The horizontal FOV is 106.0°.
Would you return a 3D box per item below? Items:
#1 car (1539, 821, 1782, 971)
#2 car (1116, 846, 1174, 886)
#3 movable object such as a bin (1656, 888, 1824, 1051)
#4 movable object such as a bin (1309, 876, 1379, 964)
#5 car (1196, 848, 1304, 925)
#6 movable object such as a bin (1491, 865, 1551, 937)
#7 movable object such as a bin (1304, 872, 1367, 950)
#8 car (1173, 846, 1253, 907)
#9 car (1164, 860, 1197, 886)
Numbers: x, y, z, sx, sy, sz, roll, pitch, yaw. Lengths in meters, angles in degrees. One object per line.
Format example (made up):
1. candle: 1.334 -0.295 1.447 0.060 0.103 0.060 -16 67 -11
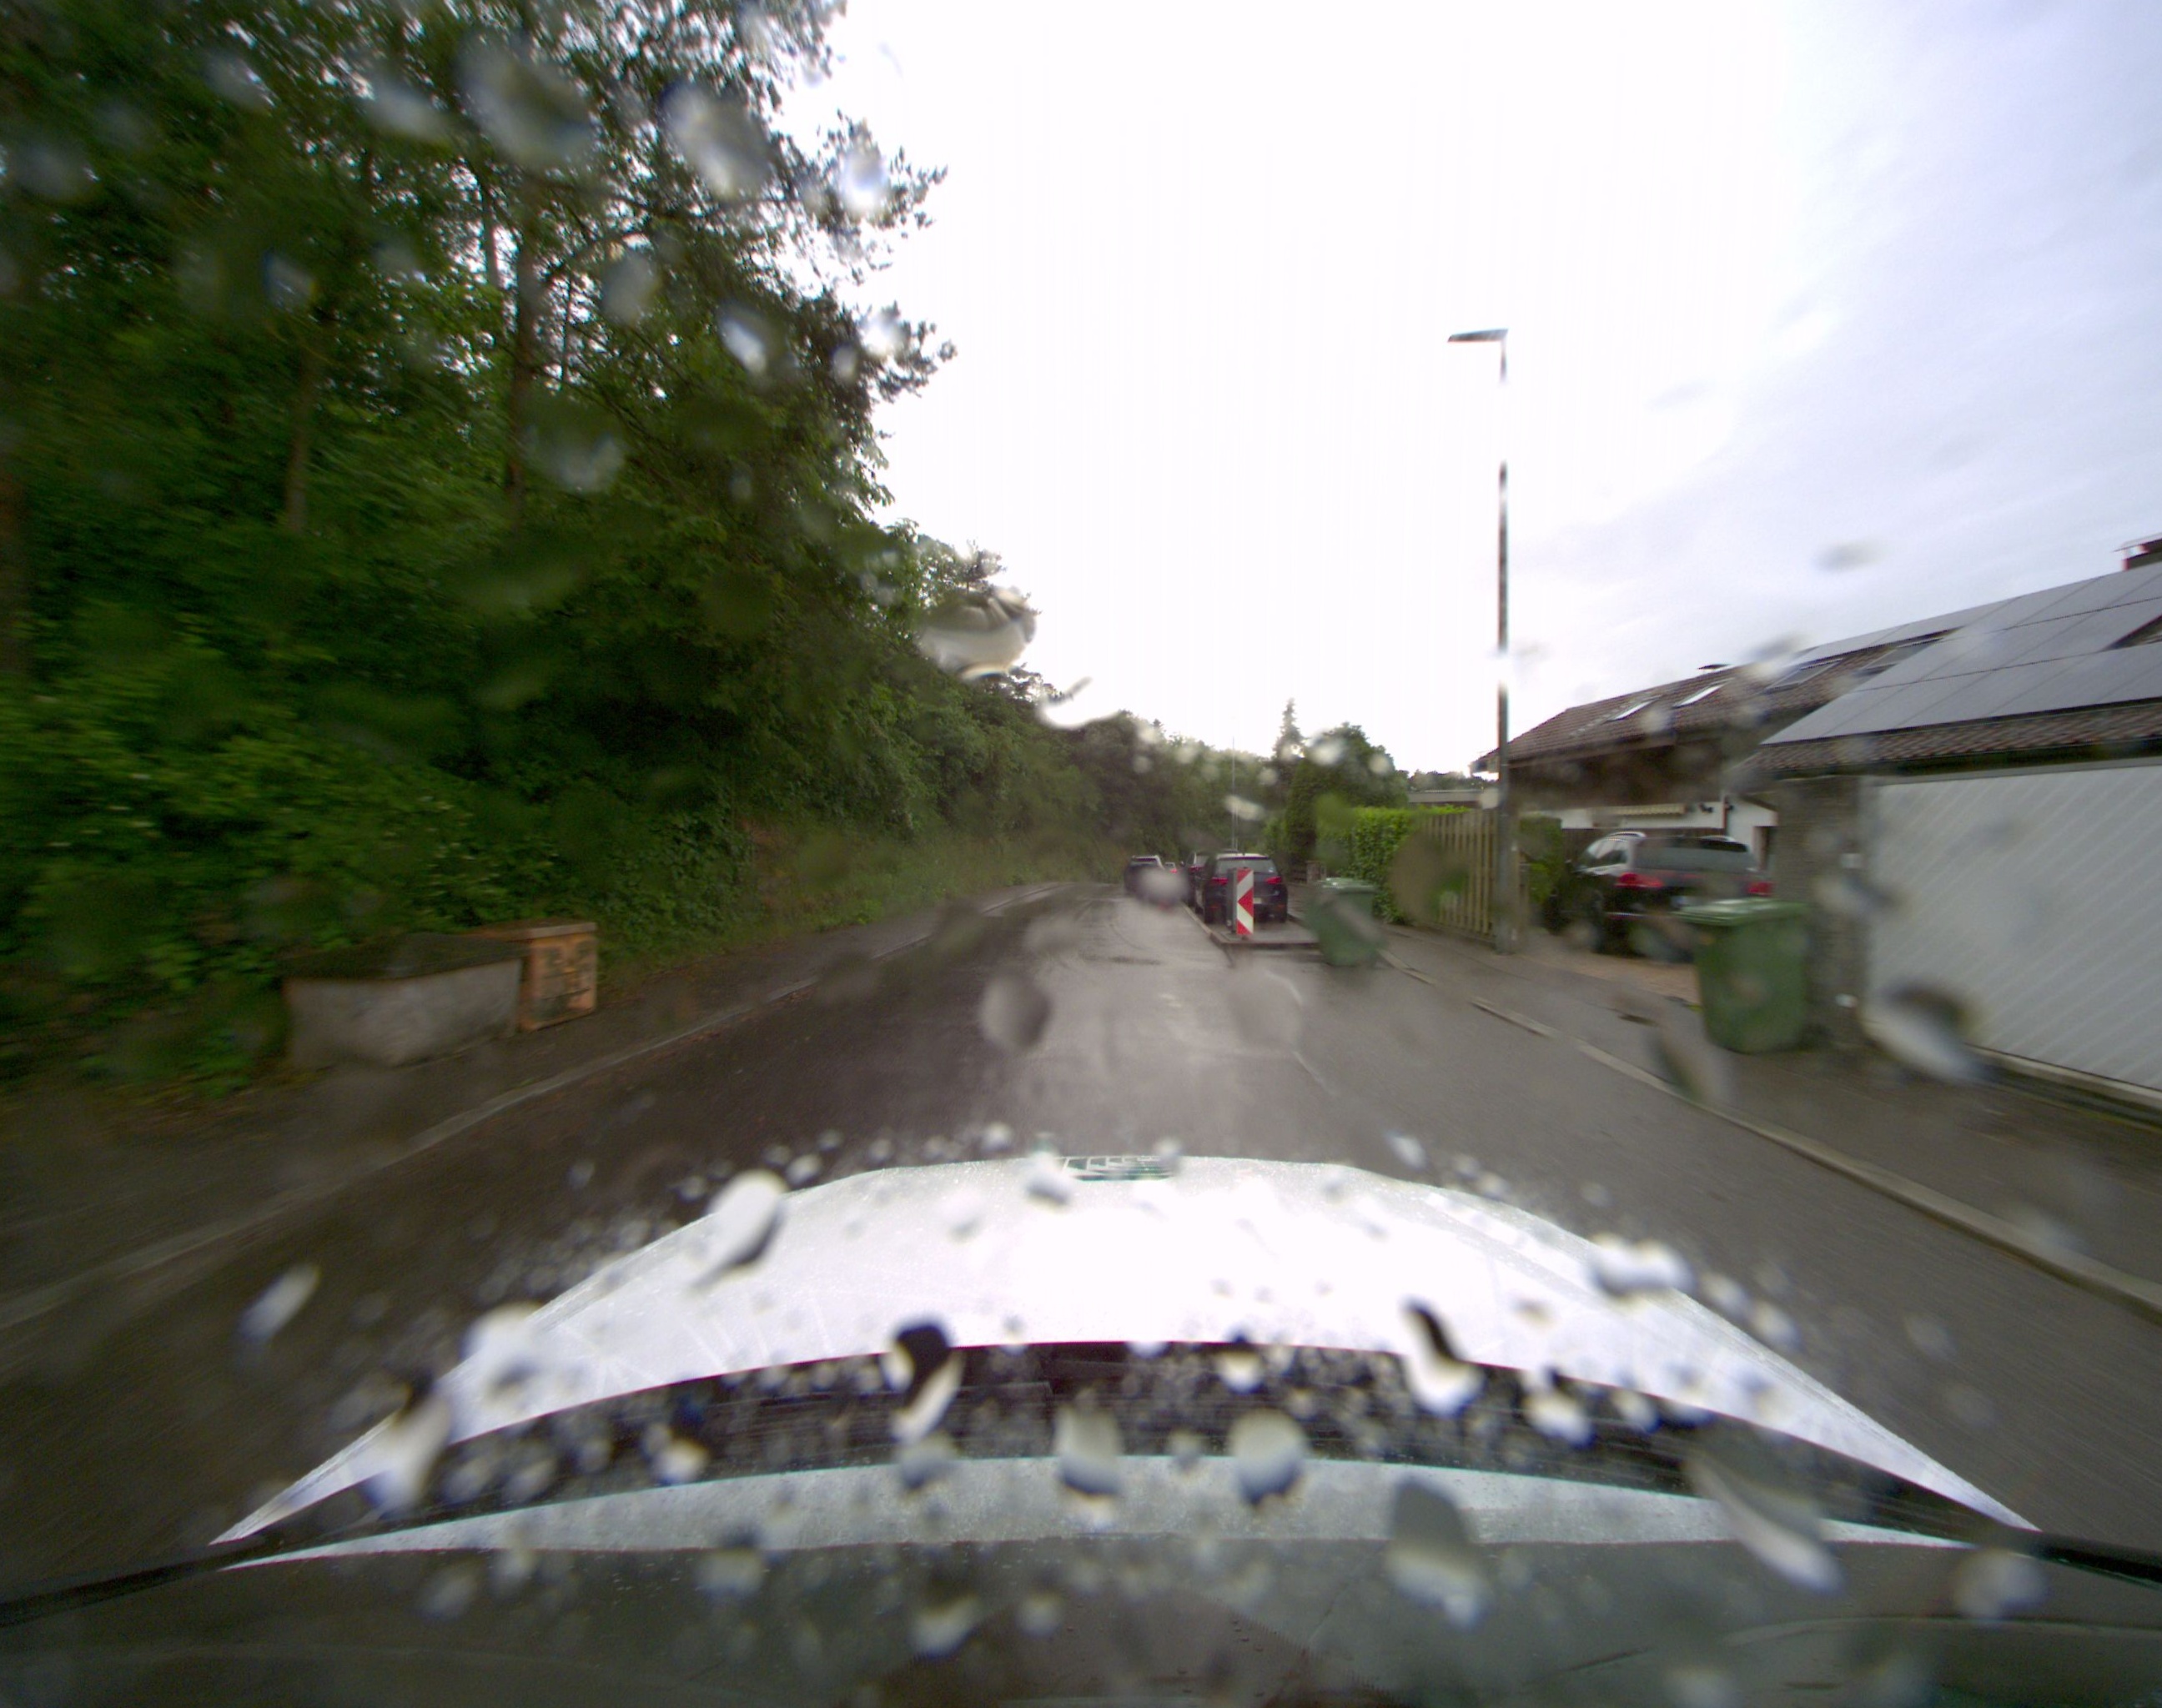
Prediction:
1. car: 8.208 0.513 12.043 1.976 1.720 4.433 3 0 23
2. car: 2.817 0.567 35.011 1.856 1.513 4.105 1 -3 12
3. movable object such as a bin: 4.830 0.825 6.012 0.735 1.088 0.601 -2 0 6
4. movable object such as a bin: 3.445 0.858 10.713 0.713 1.095 0.656 0 0 -1
5. car: 3.596 0.624 18.026 1.748 1.462 4.305 0 1 4
6. movable object such as a bin: 7.198 0.745 13.360 0.741 1.104 0.824 3 0 22
7. movable object such as a bin: 3.684 0.810 11.850 0.726 1.078 0.661 0 0 2
8. car: 3.721 0.568 23.672 1.867 1.592 4.484 0 1 3
9. car: 6.754 1.251 54.916 1.982 1.605 4.420 0 1 9
